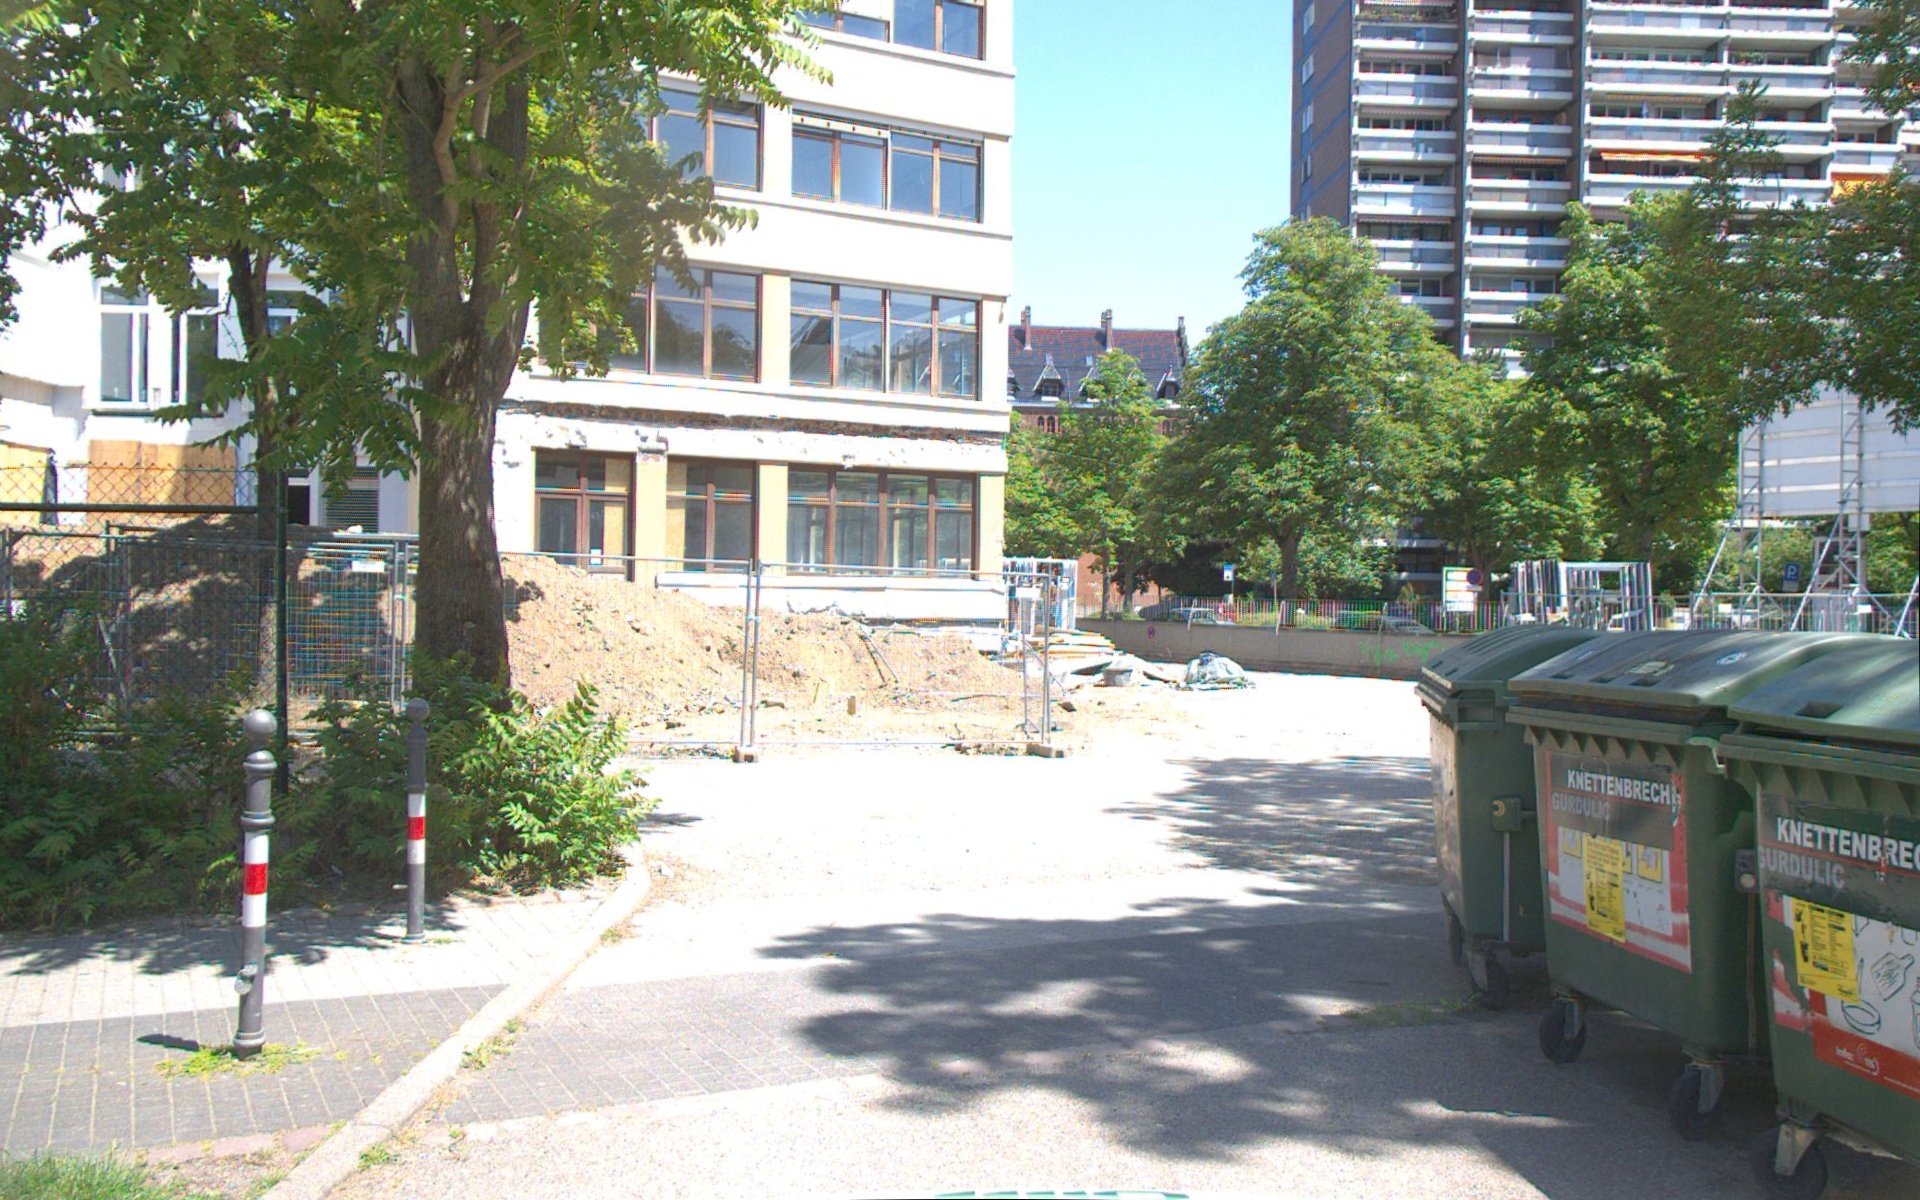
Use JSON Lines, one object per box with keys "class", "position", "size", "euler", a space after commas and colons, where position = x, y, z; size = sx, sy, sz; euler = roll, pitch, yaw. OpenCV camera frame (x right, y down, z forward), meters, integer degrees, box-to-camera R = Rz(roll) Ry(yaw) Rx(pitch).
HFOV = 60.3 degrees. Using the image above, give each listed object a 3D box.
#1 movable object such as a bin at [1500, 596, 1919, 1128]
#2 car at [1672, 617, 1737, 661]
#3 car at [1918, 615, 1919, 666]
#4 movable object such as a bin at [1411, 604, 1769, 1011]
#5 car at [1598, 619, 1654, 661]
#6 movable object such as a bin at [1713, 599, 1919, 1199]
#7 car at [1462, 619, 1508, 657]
{"class": "movable object such as a bin", "position": [2.600, 0.757, 5.379], "size": [1.156, 1.495, 1.309], "euler": [1, -1, -7]}
{"class": "car", "position": [24.903, 1.286, 55.407], "size": [1.599, 1.411, 3.679], "euler": [1, 0, 19]}
{"class": "car", "position": [28.704, 1.192, 46.946], "size": [1.598, 1.489, 3.681], "euler": [1, 0, 13]}
{"class": "movable object such as a bin", "position": [2.553, 0.784, 6.917], "size": [1.154, 1.495, 1.334], "euler": [1, -1, 10]}
{"class": "car", "position": [23.508, 1.403, 58.483], "size": [1.599, 1.411, 3.679], "euler": [1, 0, 19]}
{"class": "movable object such as a bin", "position": [2.701, 0.760, 3.940], "size": [1.156, 1.495, 1.310], "euler": [1, -1, -5]}
{"class": "car", "position": [20.076, 1.426, 63.177], "size": [1.599, 1.411, 3.679], "euler": [1, 0, 19]}
